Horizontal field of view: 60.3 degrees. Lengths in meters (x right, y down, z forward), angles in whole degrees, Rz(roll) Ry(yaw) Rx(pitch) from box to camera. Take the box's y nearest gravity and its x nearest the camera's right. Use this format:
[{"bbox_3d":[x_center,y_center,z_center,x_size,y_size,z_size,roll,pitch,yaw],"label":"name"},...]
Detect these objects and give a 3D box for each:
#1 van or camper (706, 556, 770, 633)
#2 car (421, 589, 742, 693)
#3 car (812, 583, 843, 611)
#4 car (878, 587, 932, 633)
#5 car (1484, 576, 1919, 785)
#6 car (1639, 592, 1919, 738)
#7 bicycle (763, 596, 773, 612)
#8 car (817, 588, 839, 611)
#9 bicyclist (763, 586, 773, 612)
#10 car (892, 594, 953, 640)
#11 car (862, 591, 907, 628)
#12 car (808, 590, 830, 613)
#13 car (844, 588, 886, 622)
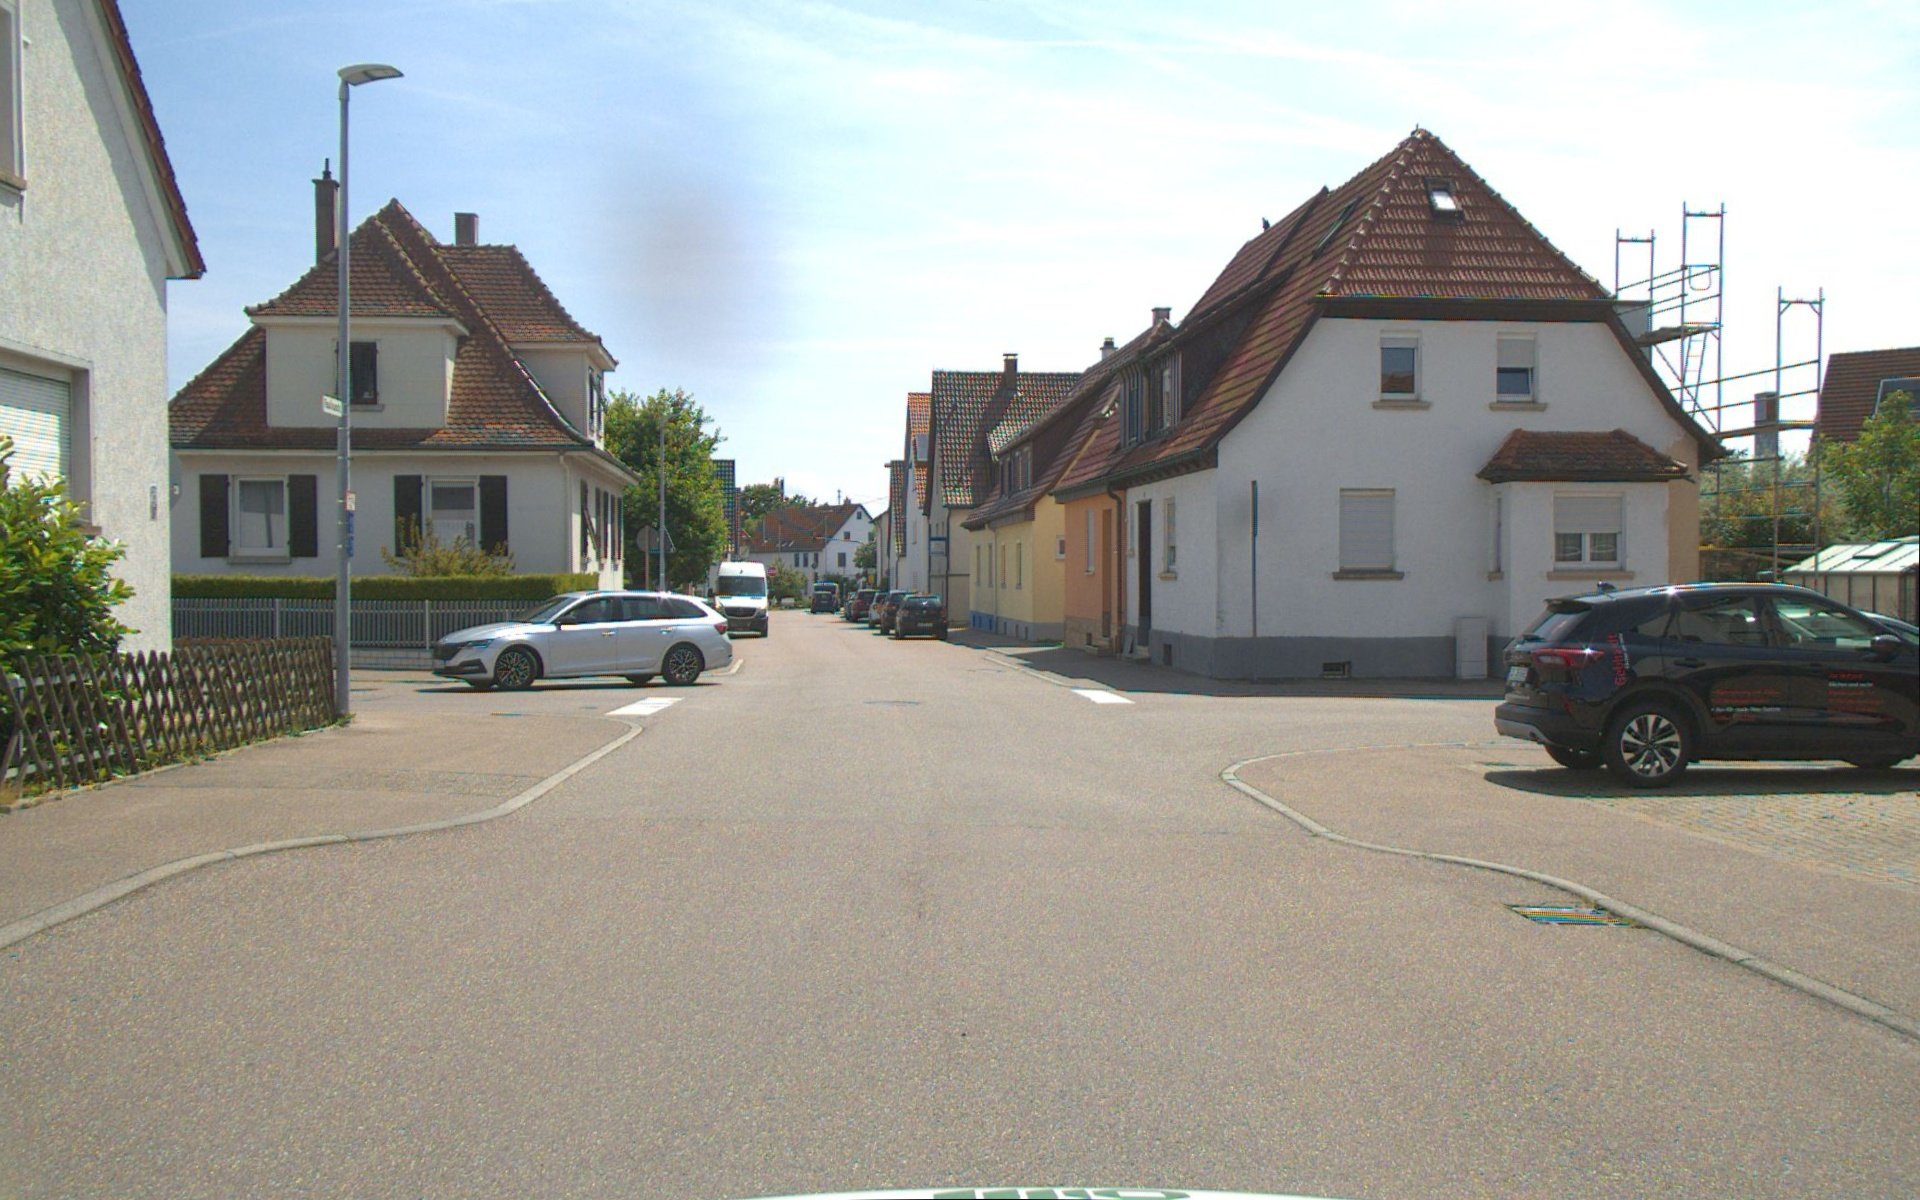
[{"bbox_3d":[-7.976,-0.211,59.984,2.143,2.616,6.797,1,0,-7],"label":"van or camper"},{"bbox_3d":[-5.738,0.578,25.378,4.543,1.463,1.734,0,0,-39],"label":"car"},{"bbox_3d":[-10.602,-0.251,132.449,2.085,2.196,4.736,0,0,0],"label":"car"},{"bbox_3d":[-2.047,0.357,60.789,1.695,1.628,4.248,0,0,-6],"label":"car"},{"bbox_3d":[6.965,0.656,14.442,4.204,1.682,1.848,0,0,2],"label":"car"},{"bbox_3d":[9.854,0.696,18.405,3.904,1.530,1.695,0,0,2],"label":"car"},{"bbox_3d":[-13.573,0.274,116.801,0.657,1.152,2.186,0,0,-7],"label":"bicycle"},{"bbox_3d":[-9.440,-0.041,118.263,1.485,1.594,3.182,0,0,-3],"label":"car"},{"bbox_3d":[-13.572,-0.102,116.879,0.700,1.830,0.940,0,0,-8],"label":"bicyclist"},{"bbox_3d":[-1.286,0.549,55.068,1.580,1.456,3.747,0,0,-8],"label":"car"},{"bbox_3d":[-3.334,0.387,72.643,1.642,1.586,3.034,0,0,-8],"label":"car"},{"bbox_3d":[-10.431,0.090,122.286,1.485,1.653,3.182,-1,0,-3],"label":"car"},{"bbox_3d":[-5.045,0.241,87.479,1.840,1.730,4.175,0,0,-8],"label":"car"}]
